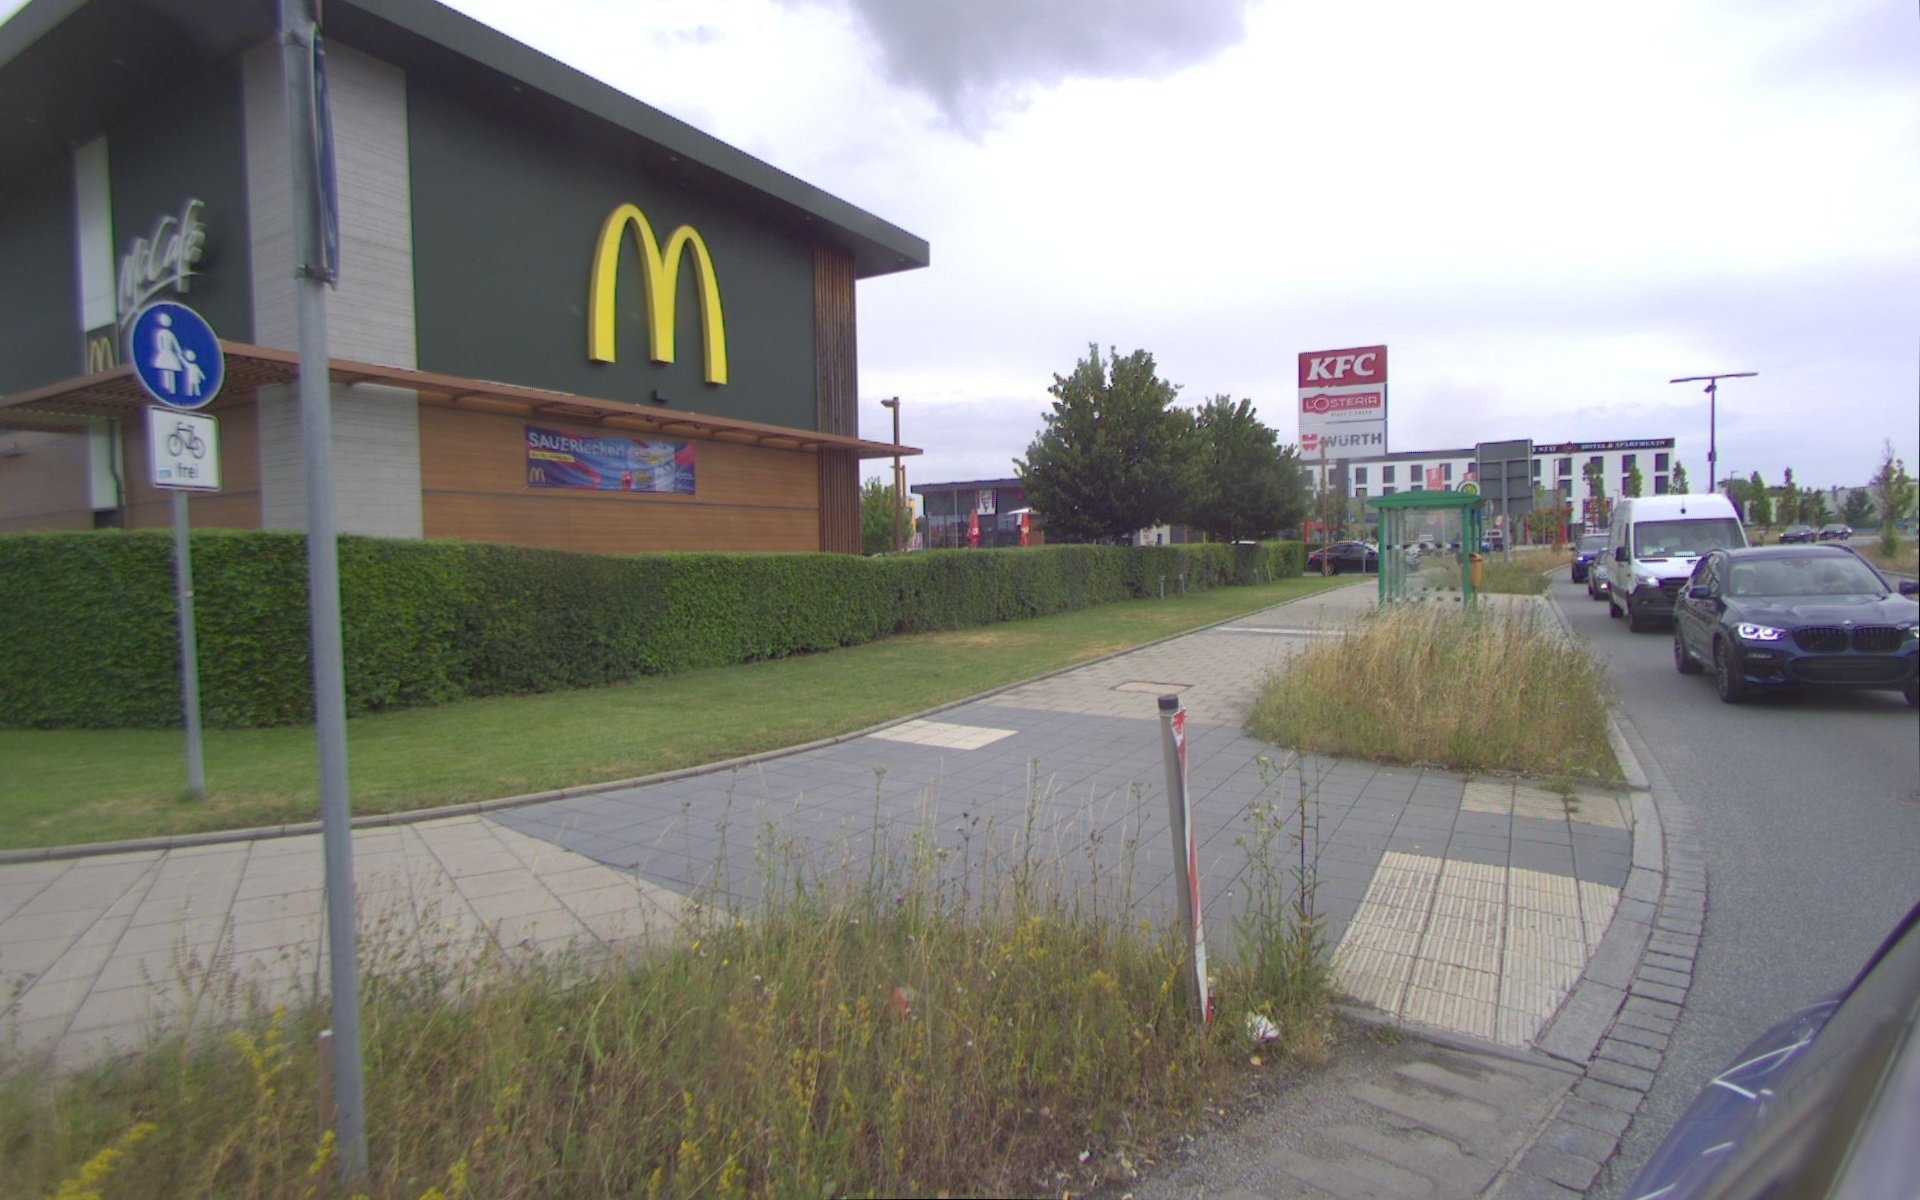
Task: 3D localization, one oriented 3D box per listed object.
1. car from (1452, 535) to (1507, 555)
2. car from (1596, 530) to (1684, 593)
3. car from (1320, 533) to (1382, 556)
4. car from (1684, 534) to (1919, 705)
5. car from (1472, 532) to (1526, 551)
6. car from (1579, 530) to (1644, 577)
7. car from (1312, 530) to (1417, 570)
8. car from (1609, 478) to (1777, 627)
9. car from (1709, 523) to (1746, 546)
[{"bbox_3d":[46.995,-4.975,91.577,1.817,1.504,3.991,-6,3,-42],"label":"car"},{"bbox_3d":[19.284,-1.133,28.829,1.853,1.627,3.959,0,3,31],"label":"car"},{"bbox_3d":[29.139,-4.129,75.426,3.980,1.540,1.822,1,3,39],"label":"car"},{"bbox_3d":[9.801,0.088,11.713,1.852,1.627,3.962,0,3,29],"label":"car"},{"bbox_3d":[49.178,-5.347,92.405,1.817,1.504,3.991,-6,3,-42],"label":"car"},{"bbox_3d":[24.073,-1.761,37.491,1.853,1.627,3.959,0,3,31],"label":"car"},{"bbox_3d":[17.842,-2.183,44.655,3.972,1.504,1.826,-2,3,35],"label":"car"},{"bbox_3d":[14.559,-0.991,20.471,2.009,2.558,6.046,0,3,29],"label":"car"},{"bbox_3d":[59.024,-5.053,77.798,1.991,1.593,3.945,-1,3,41],"label":"car"}]
